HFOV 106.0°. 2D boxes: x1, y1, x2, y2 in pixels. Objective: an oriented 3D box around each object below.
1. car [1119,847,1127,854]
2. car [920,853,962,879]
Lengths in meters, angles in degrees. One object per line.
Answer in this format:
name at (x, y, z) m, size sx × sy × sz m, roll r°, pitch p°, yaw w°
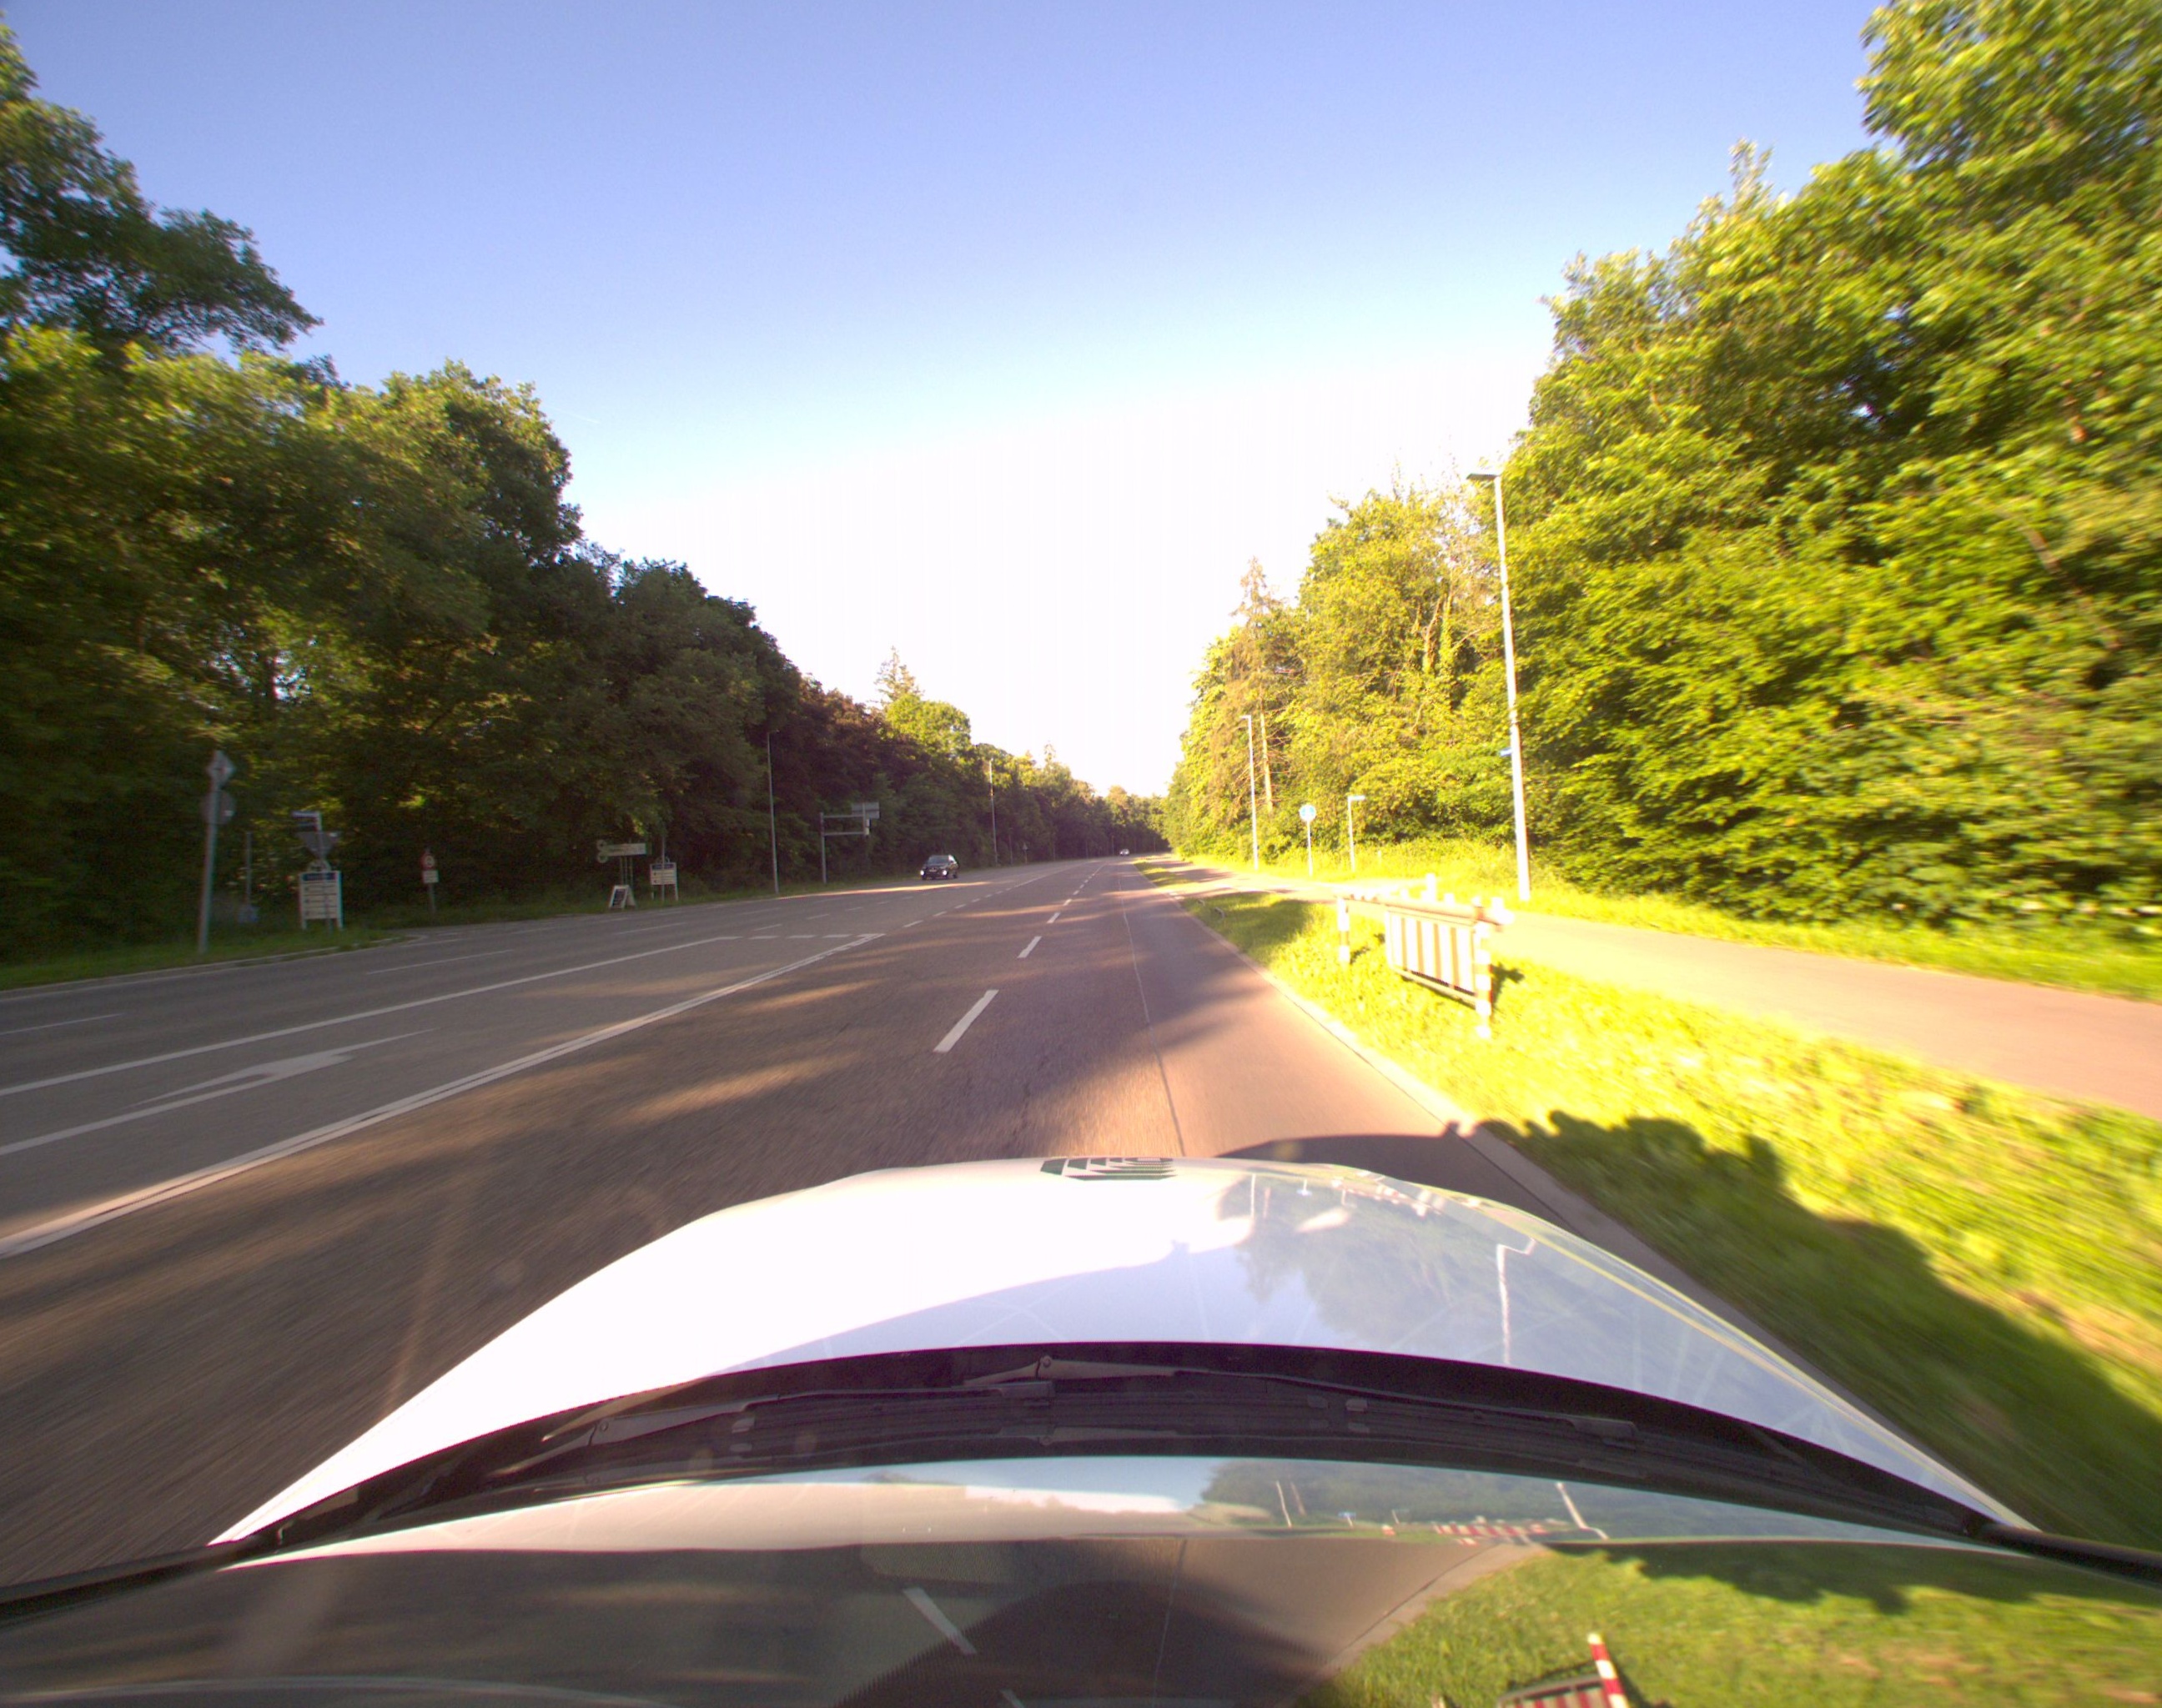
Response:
car at (10.849, -0.831, 208.928) m, size 1.900 × 1.663 × 4.737 m, roll -2°, pitch 0°, yaw 3°
car at (-9.384, 0.768, 54.895) m, size 1.817 × 1.589 × 4.354 m, roll -2°, pitch 0°, yaw 3°
